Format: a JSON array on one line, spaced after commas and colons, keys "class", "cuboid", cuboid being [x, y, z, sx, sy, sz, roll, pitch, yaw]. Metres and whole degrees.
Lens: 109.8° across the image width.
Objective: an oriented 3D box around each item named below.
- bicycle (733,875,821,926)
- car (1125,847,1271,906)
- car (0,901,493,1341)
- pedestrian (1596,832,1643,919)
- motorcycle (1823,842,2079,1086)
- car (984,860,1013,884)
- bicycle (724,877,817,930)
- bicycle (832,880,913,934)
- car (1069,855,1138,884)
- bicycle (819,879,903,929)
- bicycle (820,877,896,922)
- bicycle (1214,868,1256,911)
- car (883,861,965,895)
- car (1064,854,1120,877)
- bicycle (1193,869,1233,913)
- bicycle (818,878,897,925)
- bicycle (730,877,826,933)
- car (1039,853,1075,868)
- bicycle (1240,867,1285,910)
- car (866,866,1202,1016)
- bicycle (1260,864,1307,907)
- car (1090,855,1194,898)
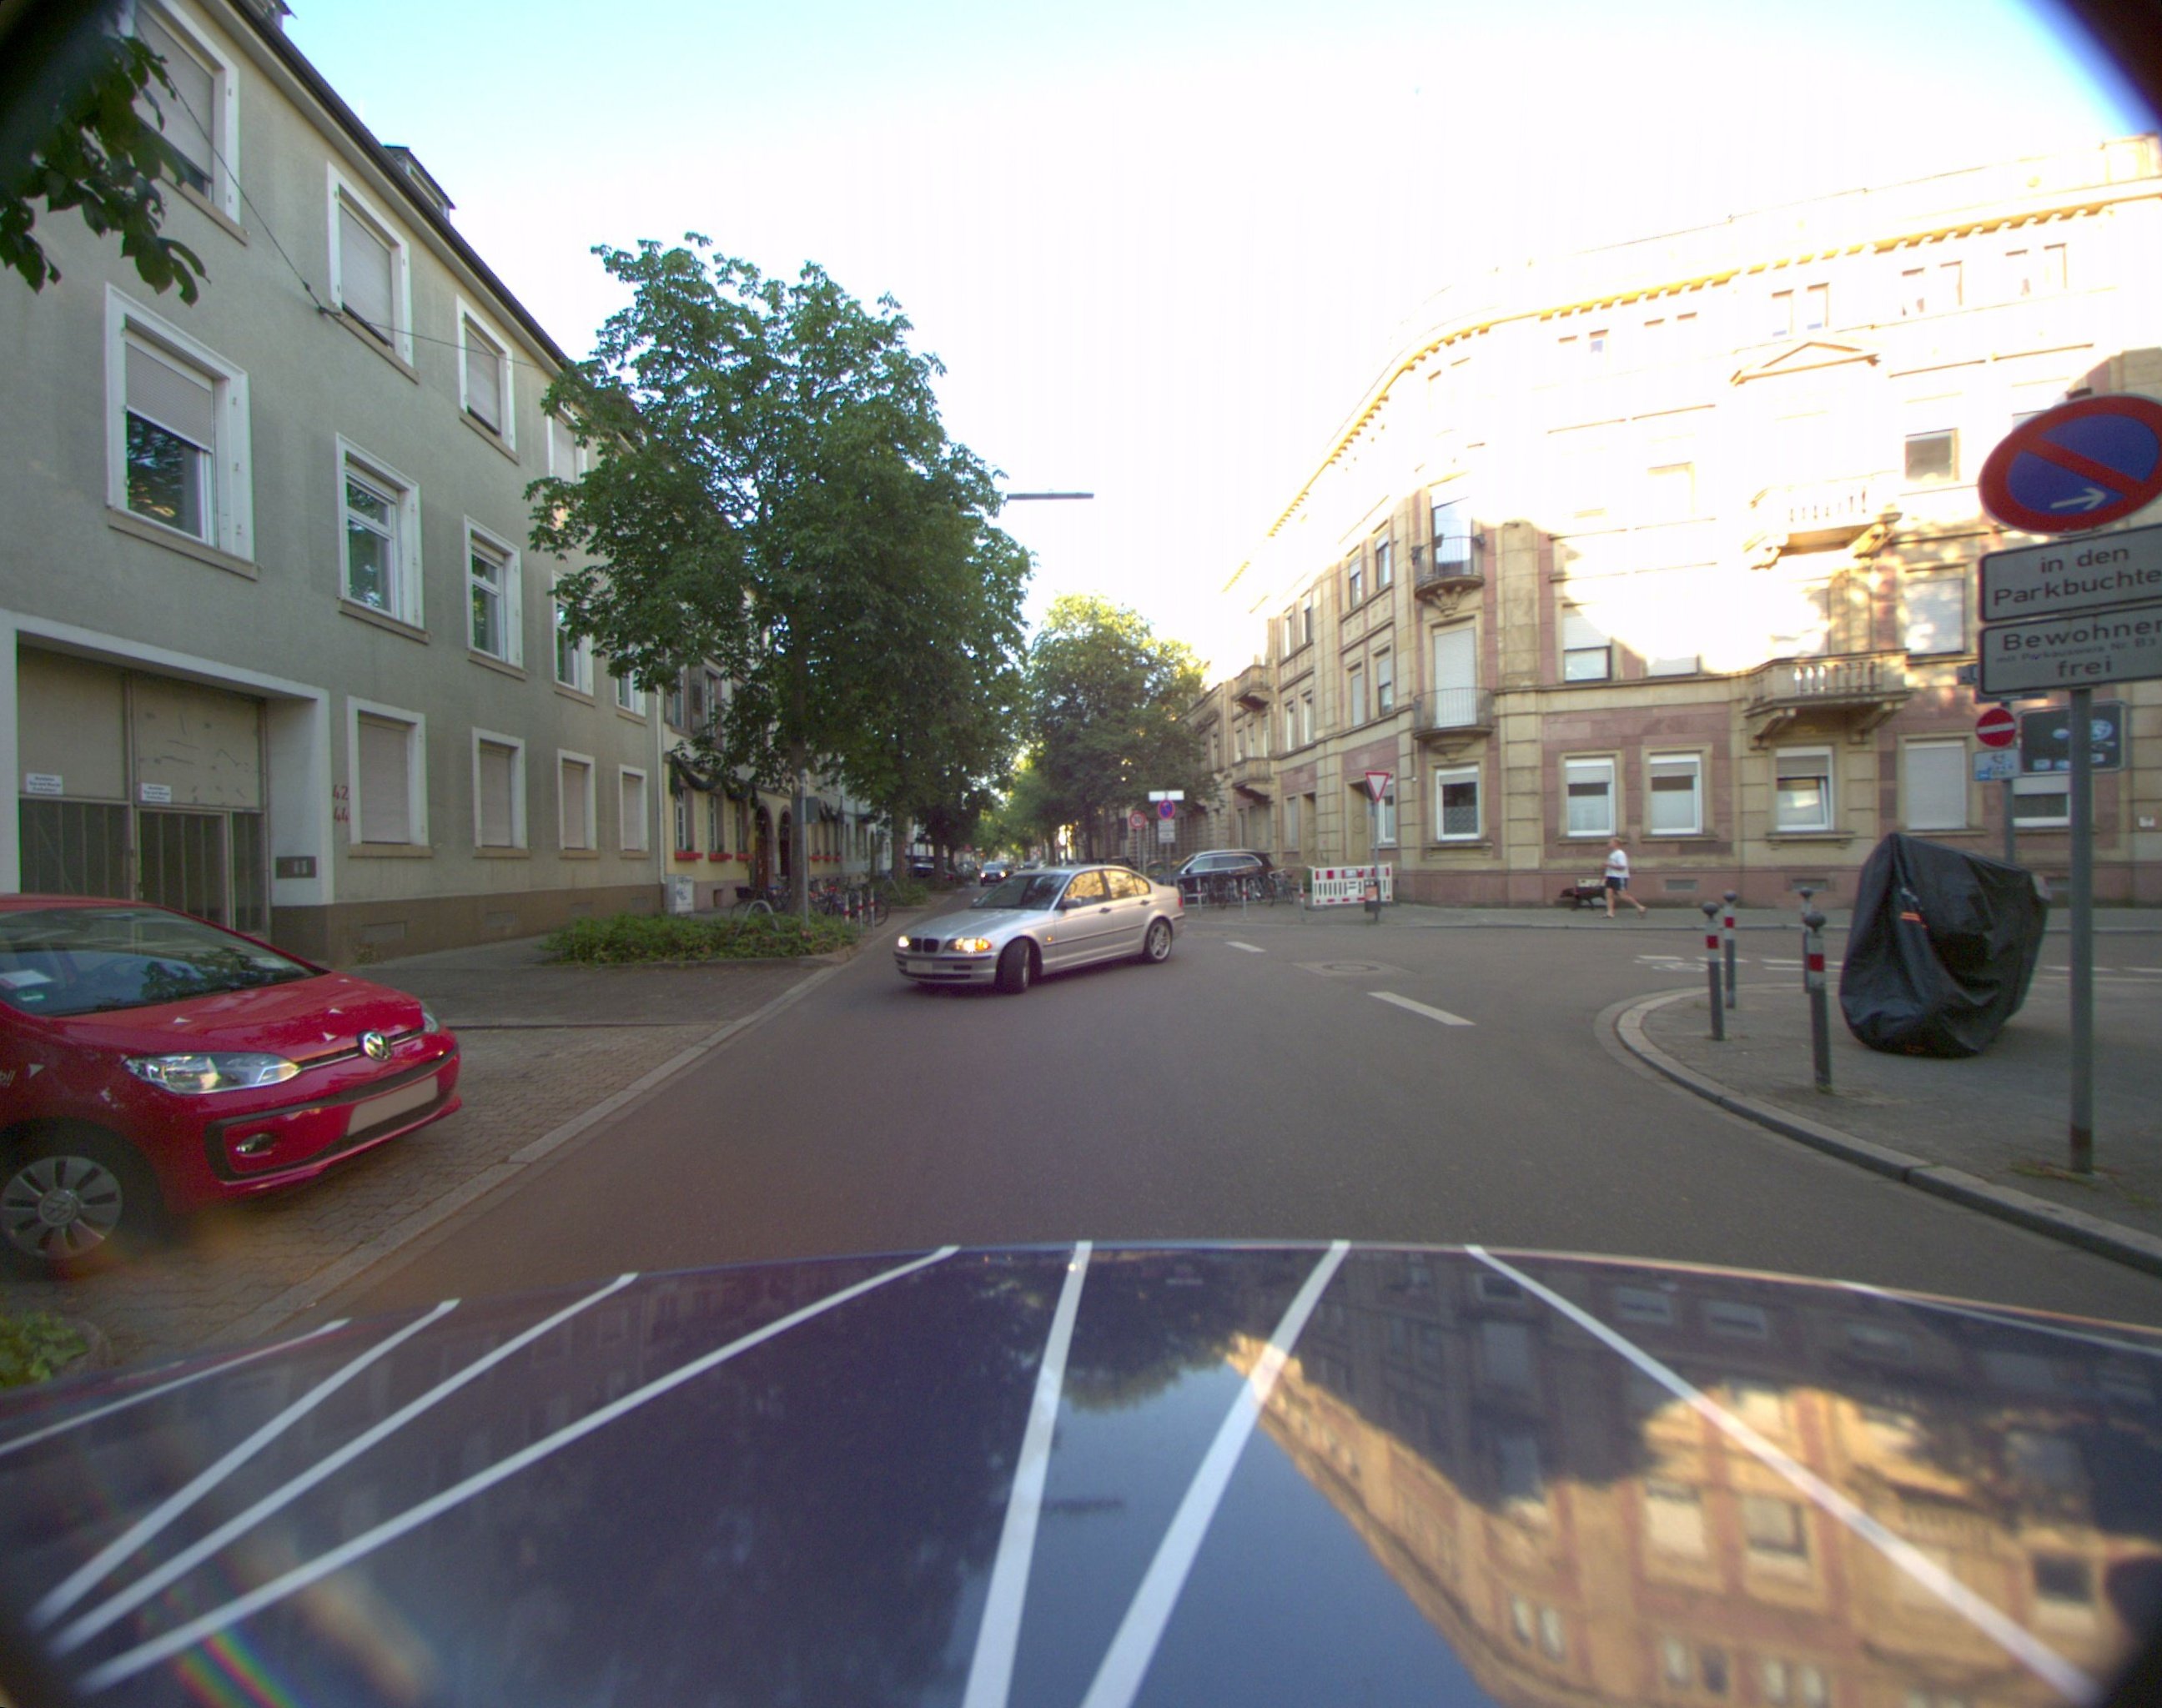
[{"class": "bicycle", "cuboid": [-7.820, 1.183, 19.597, 2.029, 1.220, 0.535, -1, 0, -13]}, {"class": "car", "cuboid": [3.719, 0.693, 24.642, 4.422, 1.771, 1.742, -1, 0, -1]}, {"class": "car", "cuboid": [-5.168, 1.043, 3.412, 3.621, 1.468, 1.663, -1, 0, -7]}, {"class": "pedestrian", "cuboid": [11.348, 0.447, 16.014, 0.650, 1.797, 0.574, -1, 1, 18]}, {"class": "motorcycle", "cuboid": [6.492, 0.679, 5.637, 2.286, 1.496, 0.816, -1, 1, -30]}, {"class": "car", "cuboid": [-5.733, 1.228, 52.985, 1.806, 1.543, 3.998, -1, 0, -4]}, {"class": "bicycle", "cuboid": [-7.499, 1.183, 18.451, 2.030, 1.220, 0.535, -1, 0, -16]}, {"class": "bicycle", "cuboid": [-5.042, 1.258, 18.398, 1.849, 1.220, 0.535, -1, 0, -16]}, {"class": "car", "cuboid": [1.402, 0.963, 48.380, 4.245, 1.749, 1.741, -1, 0, -5]}, {"class": "bicycle", "cuboid": [-5.666, 1.284, 19.638, 2.029, 1.220, 0.535, -1, 0, -11]}, {"class": "bicycle", "cuboid": [-6.374, 1.288, 21.789, 2.029, 1.220, 0.535, -1, 0, -11]}, {"class": "bicycle", "cuboid": [4.377, 0.984, 21.728, 0.562, 1.144, 2.038, -1, 0, -6]}, {"class": "car", "cuboid": [-8.562, 1.279, 41.669, 4.245, 1.729, 1.741, -1, 0, -6]}, {"class": "car", "cuboid": [0.855, 0.874, 60.851, 4.245, 1.749, 1.741, -1, 0, -5]}, {"class": "bicycle", "cuboid": [3.738, 1.028, 21.660, 0.562, 1.144, 2.038, -1, 0, -6]}, {"class": "bicycle", "cuboid": [-6.133, 1.288, 20.919, 2.029, 1.220, 0.535, -1, 0, -11]}, {"class": "bicycle", "cuboid": [-7.039, 1.173, 17.748, 2.030, 1.220, 0.535, -1, 0, -16]}, {"class": "car", "cuboid": [-2.972, 0.743, 92.537, 4.245, 1.749, 1.741, -1, 0, -5]}, {"class": "bicycle", "cuboid": [5.170, 0.962, 21.770, 0.562, 1.144, 2.038, -1, 0, -8]}, {"class": "car", "cuboid": [-0.391, 0.935, 10.026, 1.708, 1.433, 4.445, -1, 0, 43]}, {"class": "bicycle", "cuboid": [5.789, 0.882, 21.819, 0.562, 1.144, 2.038, -1, 0, -8]}, {"class": "car", "cuboid": [2.524, 0.925, 32.087, 4.243, 1.668, 1.742, -1, 0, -1]}]
